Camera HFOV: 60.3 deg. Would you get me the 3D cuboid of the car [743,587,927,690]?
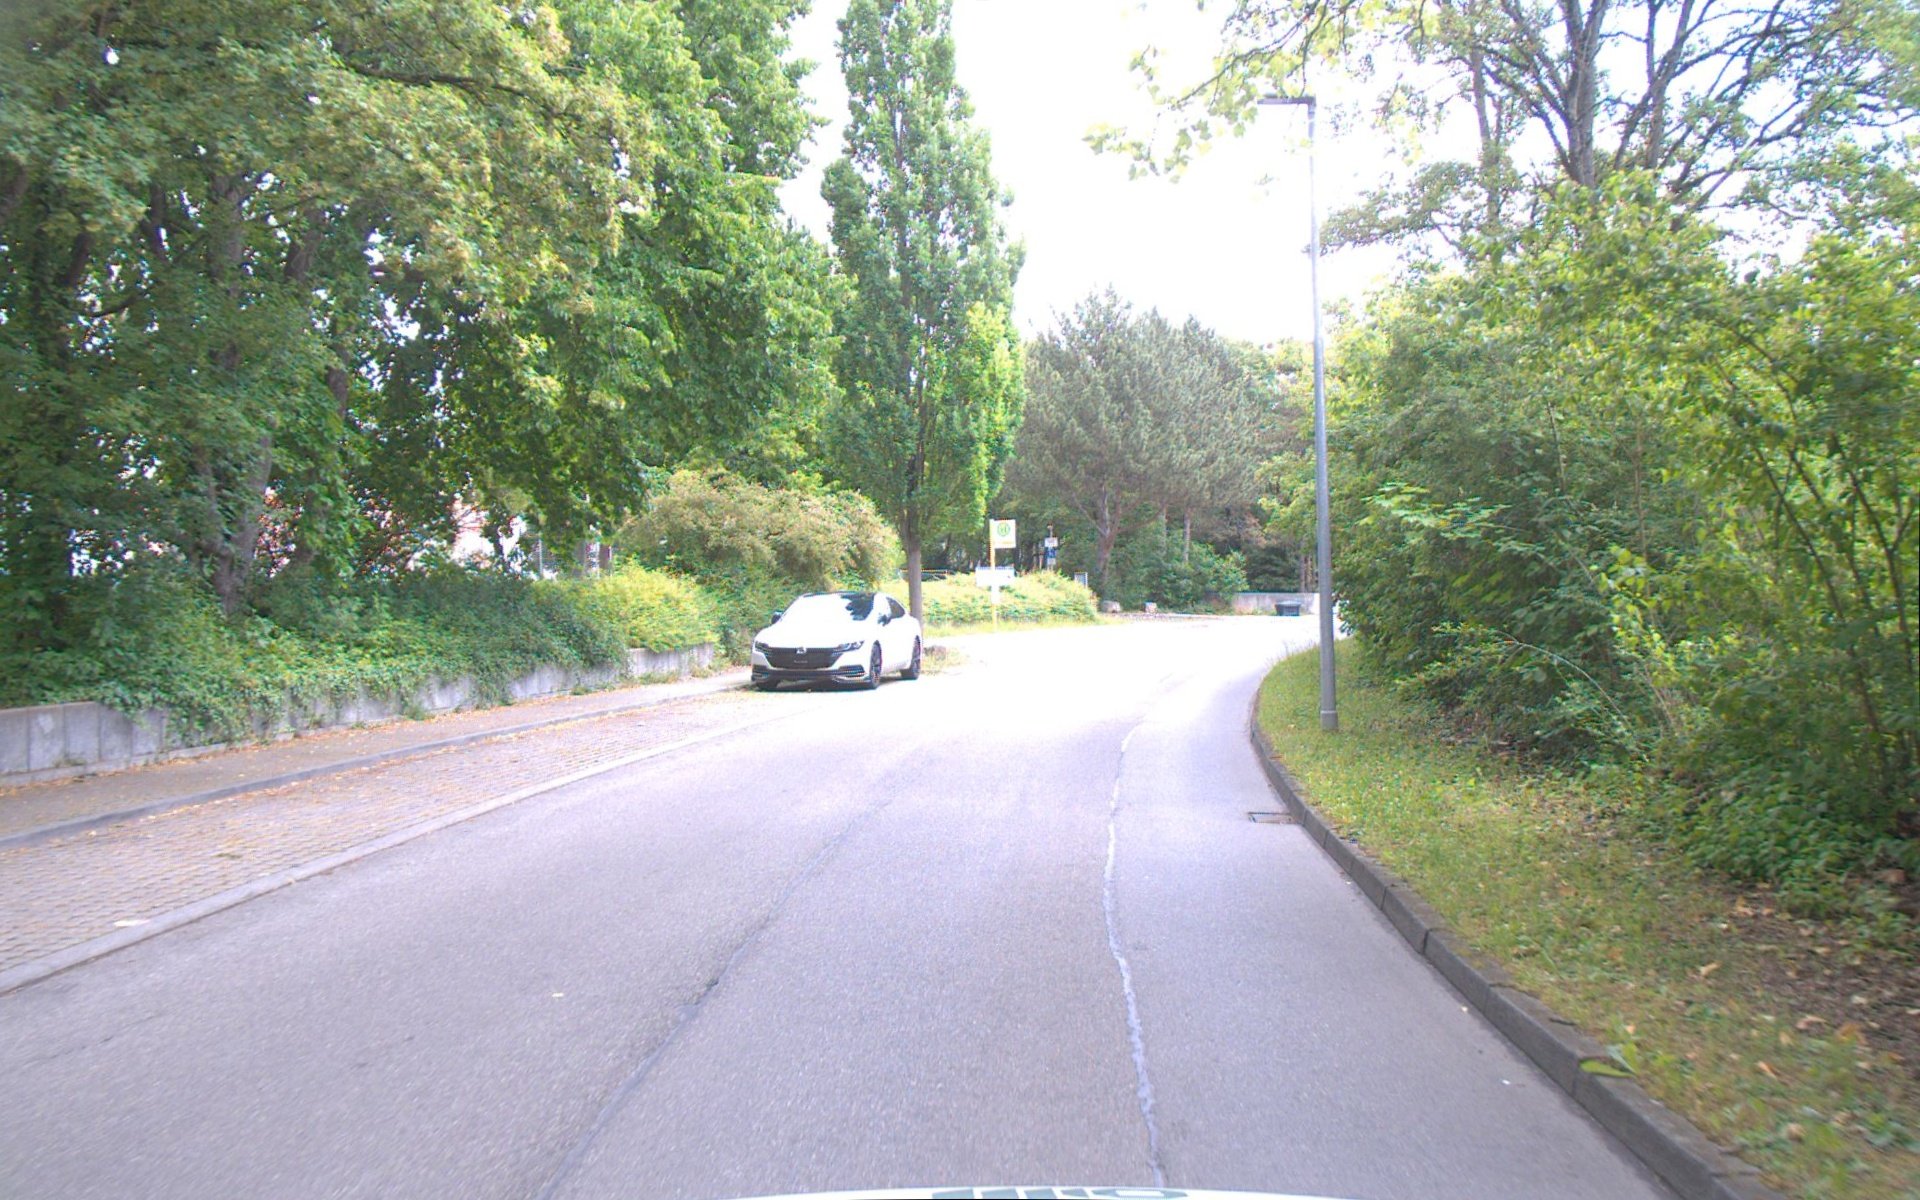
[{"bbox_3d":[-1.822,0.528,25.541,1.775,1.449,4.364,0,0,10],"label":"car"}]
